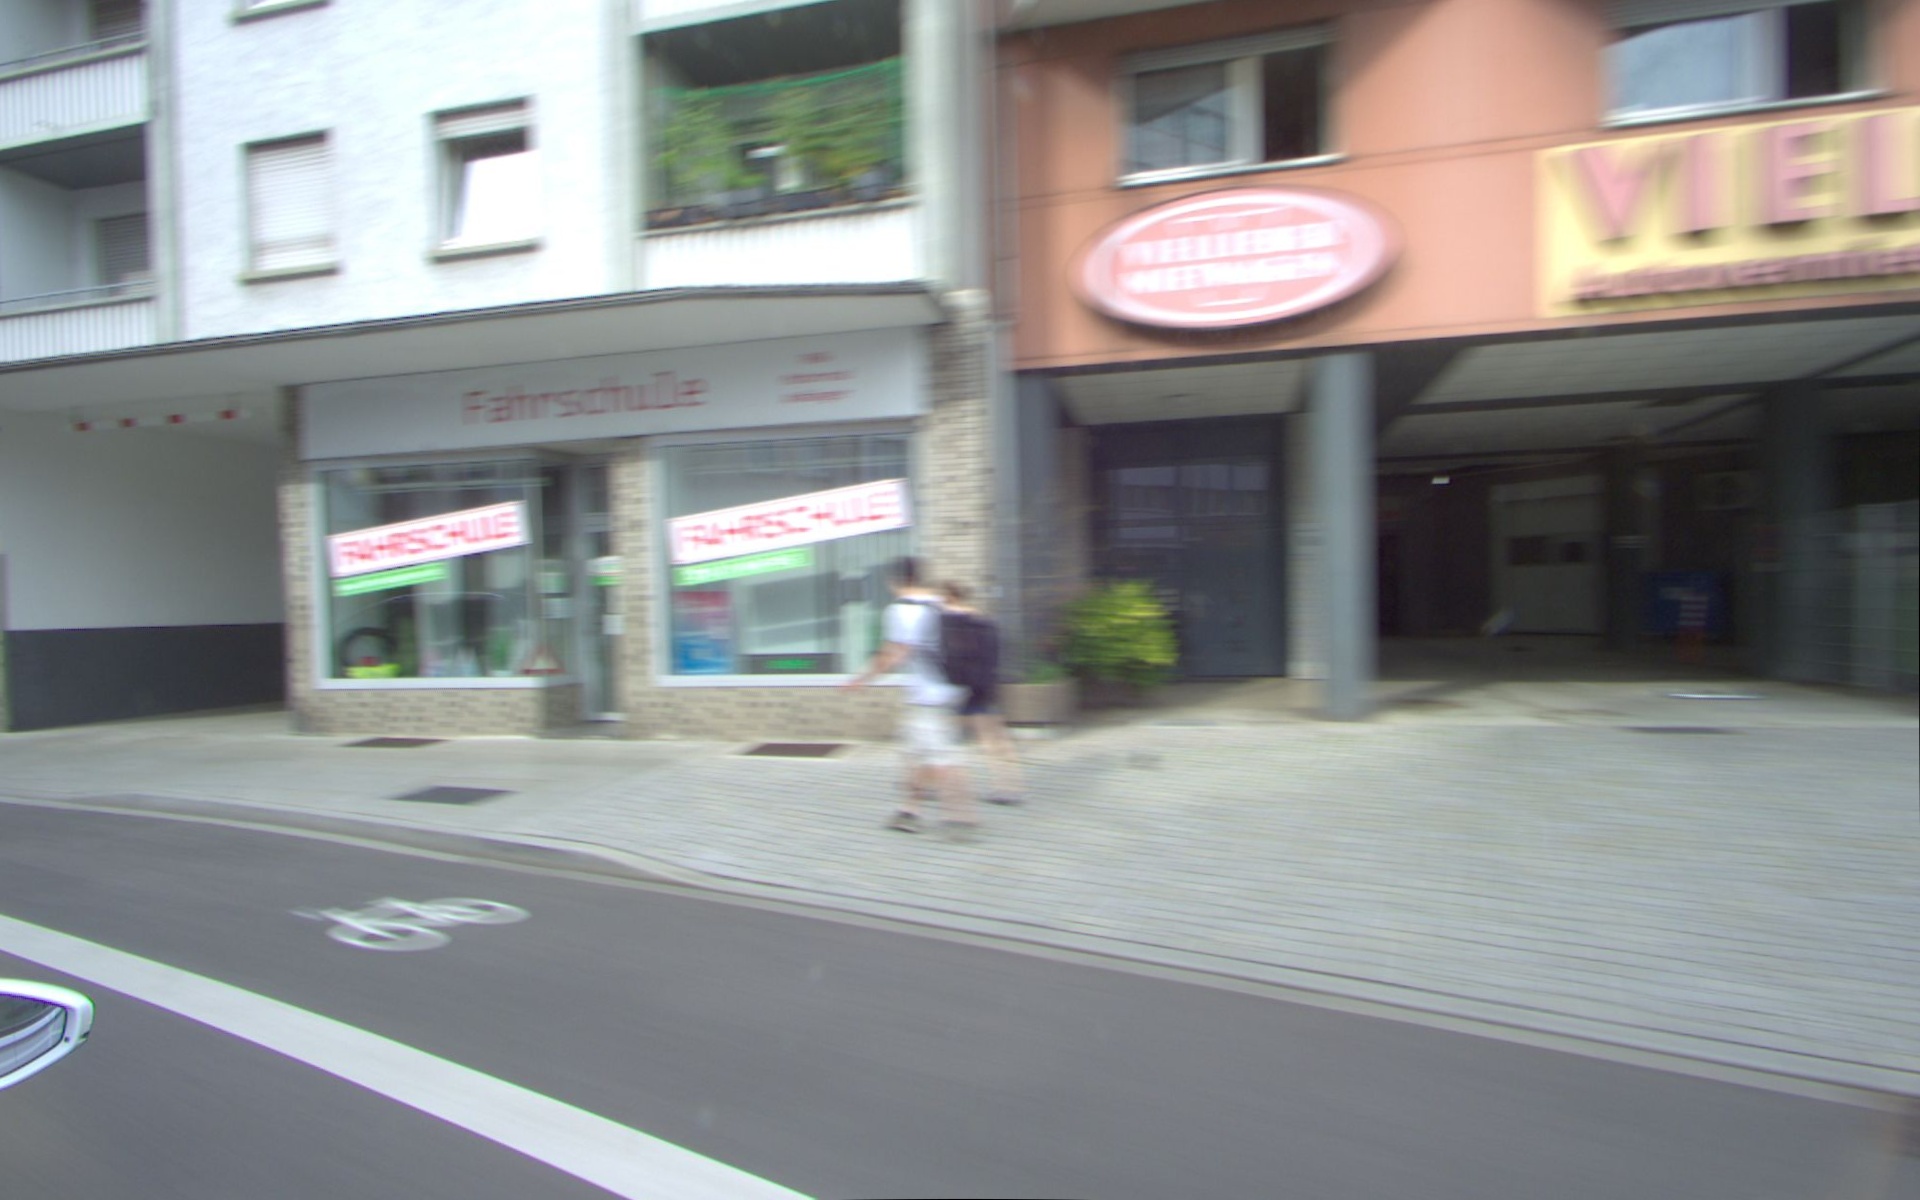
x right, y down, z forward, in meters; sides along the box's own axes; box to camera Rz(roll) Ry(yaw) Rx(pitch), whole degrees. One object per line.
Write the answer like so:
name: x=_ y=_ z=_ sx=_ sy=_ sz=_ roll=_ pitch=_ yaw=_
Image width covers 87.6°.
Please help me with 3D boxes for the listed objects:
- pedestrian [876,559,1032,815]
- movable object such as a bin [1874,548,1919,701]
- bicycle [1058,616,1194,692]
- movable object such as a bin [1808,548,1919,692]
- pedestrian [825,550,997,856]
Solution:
pedestrian: x=-0.023 y=0.582 z=7.030 sx=0.926 sy=1.692 sz=0.605 roll=-1 pitch=4 yaw=13
movable object such as a bin: x=10.243 y=0.239 z=10.021 sx=1.175 sy=1.536 sz=1.196 roll=-1 pitch=1 yaw=13
bicycle: x=2.087 y=0.664 z=12.556 sx=1.647 sy=0.908 sz=0.453 roll=0 pitch=2 yaw=14
movable object such as a bin: x=10.424 y=0.203 z=11.154 sx=1.146 sy=1.536 sz=1.004 roll=-1 pitch=1 yaw=13
pedestrian: x=-0.276 y=0.592 z=6.242 sx=0.843 sy=1.775 sz=0.752 roll=-1 pitch=4 yaw=12
